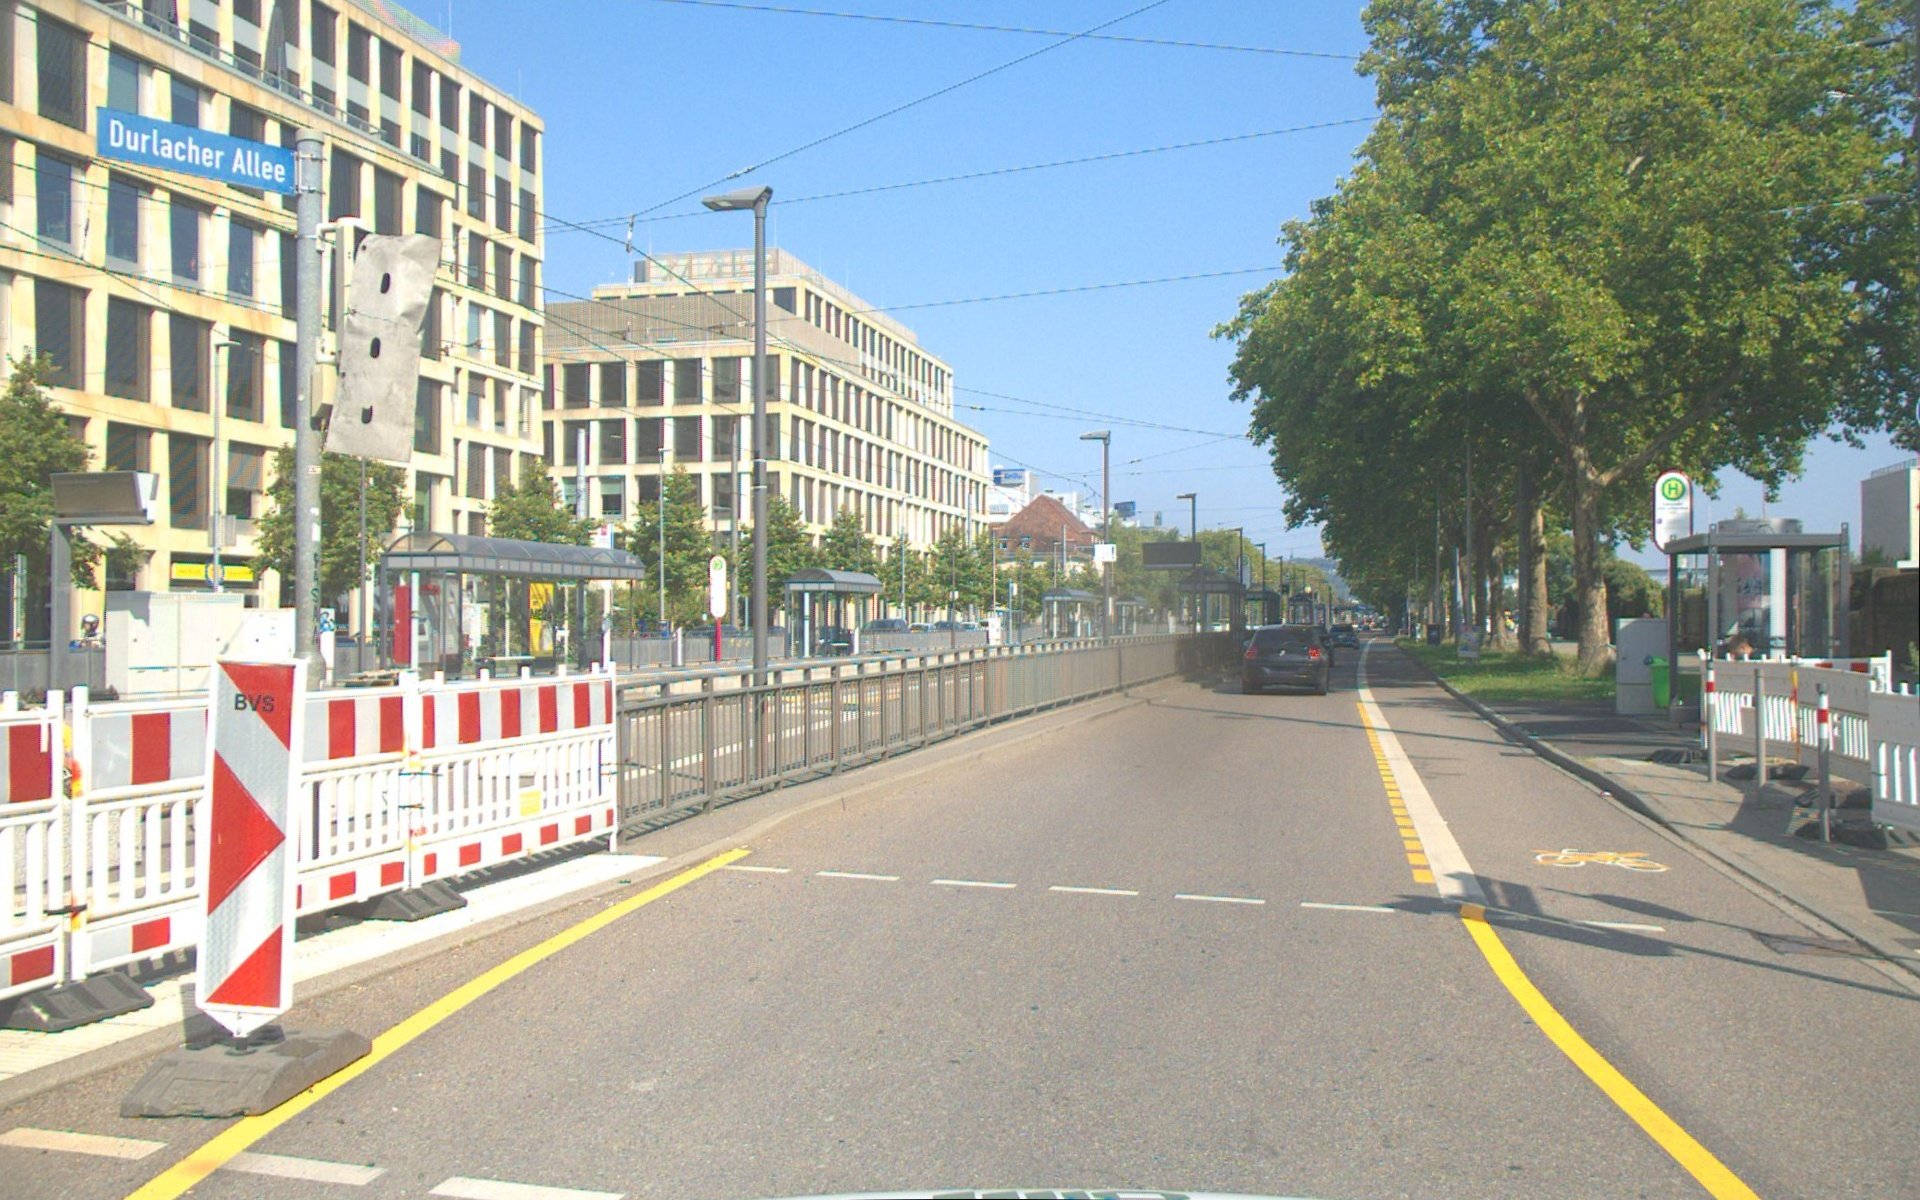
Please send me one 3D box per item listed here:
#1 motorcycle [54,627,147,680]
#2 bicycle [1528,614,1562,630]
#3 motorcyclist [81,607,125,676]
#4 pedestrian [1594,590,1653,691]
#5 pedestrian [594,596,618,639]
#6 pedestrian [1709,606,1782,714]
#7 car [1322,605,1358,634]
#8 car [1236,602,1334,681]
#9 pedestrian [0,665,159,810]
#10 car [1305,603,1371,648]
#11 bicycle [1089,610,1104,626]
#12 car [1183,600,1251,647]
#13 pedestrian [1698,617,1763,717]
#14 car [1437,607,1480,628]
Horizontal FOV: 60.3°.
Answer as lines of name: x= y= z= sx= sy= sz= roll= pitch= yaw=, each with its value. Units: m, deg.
motorcycle: x=-15.289 y=0.952 z=29.459 sx=0.420 sy=0.894 sz=1.635 roll=-4 pitch=-3 yaw=18
bicycle: x=40.237 y=1.512 z=113.843 sx=2.127 sy=1.095 sz=0.744 roll=-1 pitch=-1 yaw=13
motorcyclist: x=-15.265 y=0.742 z=29.468 sx=0.420 sy=1.199 sz=0.516 roll=-4 pitch=-3 yaw=18
pedestrian: x=11.032 y=0.661 z=27.511 sx=0.863 sy=1.654 sz=0.823 roll=-1 pitch=-1 yaw=20
pedestrian: x=-16.381 y=0.813 z=76.575 sx=0.776 sy=1.951 sz=0.839 roll=-3 pitch=-3 yaw=8
pedestrian: x=9.691 y=0.733 z=20.426 sx=0.595 sy=1.299 sz=0.760 roll=-2 pitch=-1 yaw=12
car: x=21.045 y=1.074 z=91.479 sx=1.866 sy=1.564 sz=4.003 roll=0 pitch=-1 yaw=14
car: x=7.024 y=0.854 z=35.490 sx=1.867 sy=1.564 sz=4.003 roll=1 pitch=0 yaw=13
pedestrian: x=-6.424 y=0.978 z=12.015 sx=0.686 sy=0.972 sz=0.882 roll=-1 pitch=0 yaw=14
car: x=12.824 y=0.859 z=56.026 sx=1.951 sy=1.466 sz=4.002 roll=0 pitch=-1 yaw=16
bicycle: x=9.671 y=1.267 z=116.997 sx=0.462 sy=1.167 sz=1.481 roll=-1 pitch=-1 yaw=29
car: x=8.986 y=0.808 z=57.541 sx=1.951 sy=1.586 sz=4.003 roll=0 pitch=-1 yaw=15
pedestrian: x=9.860 y=0.852 z=21.187 sx=0.595 sy=1.239 sz=0.575 roll=-2 pitch=-1 yaw=12
car: x=49.780 y=1.787 z=165.152 sx=4.017 sy=1.952 sz=1.848 roll=-2 pitch=-1 yaw=17
